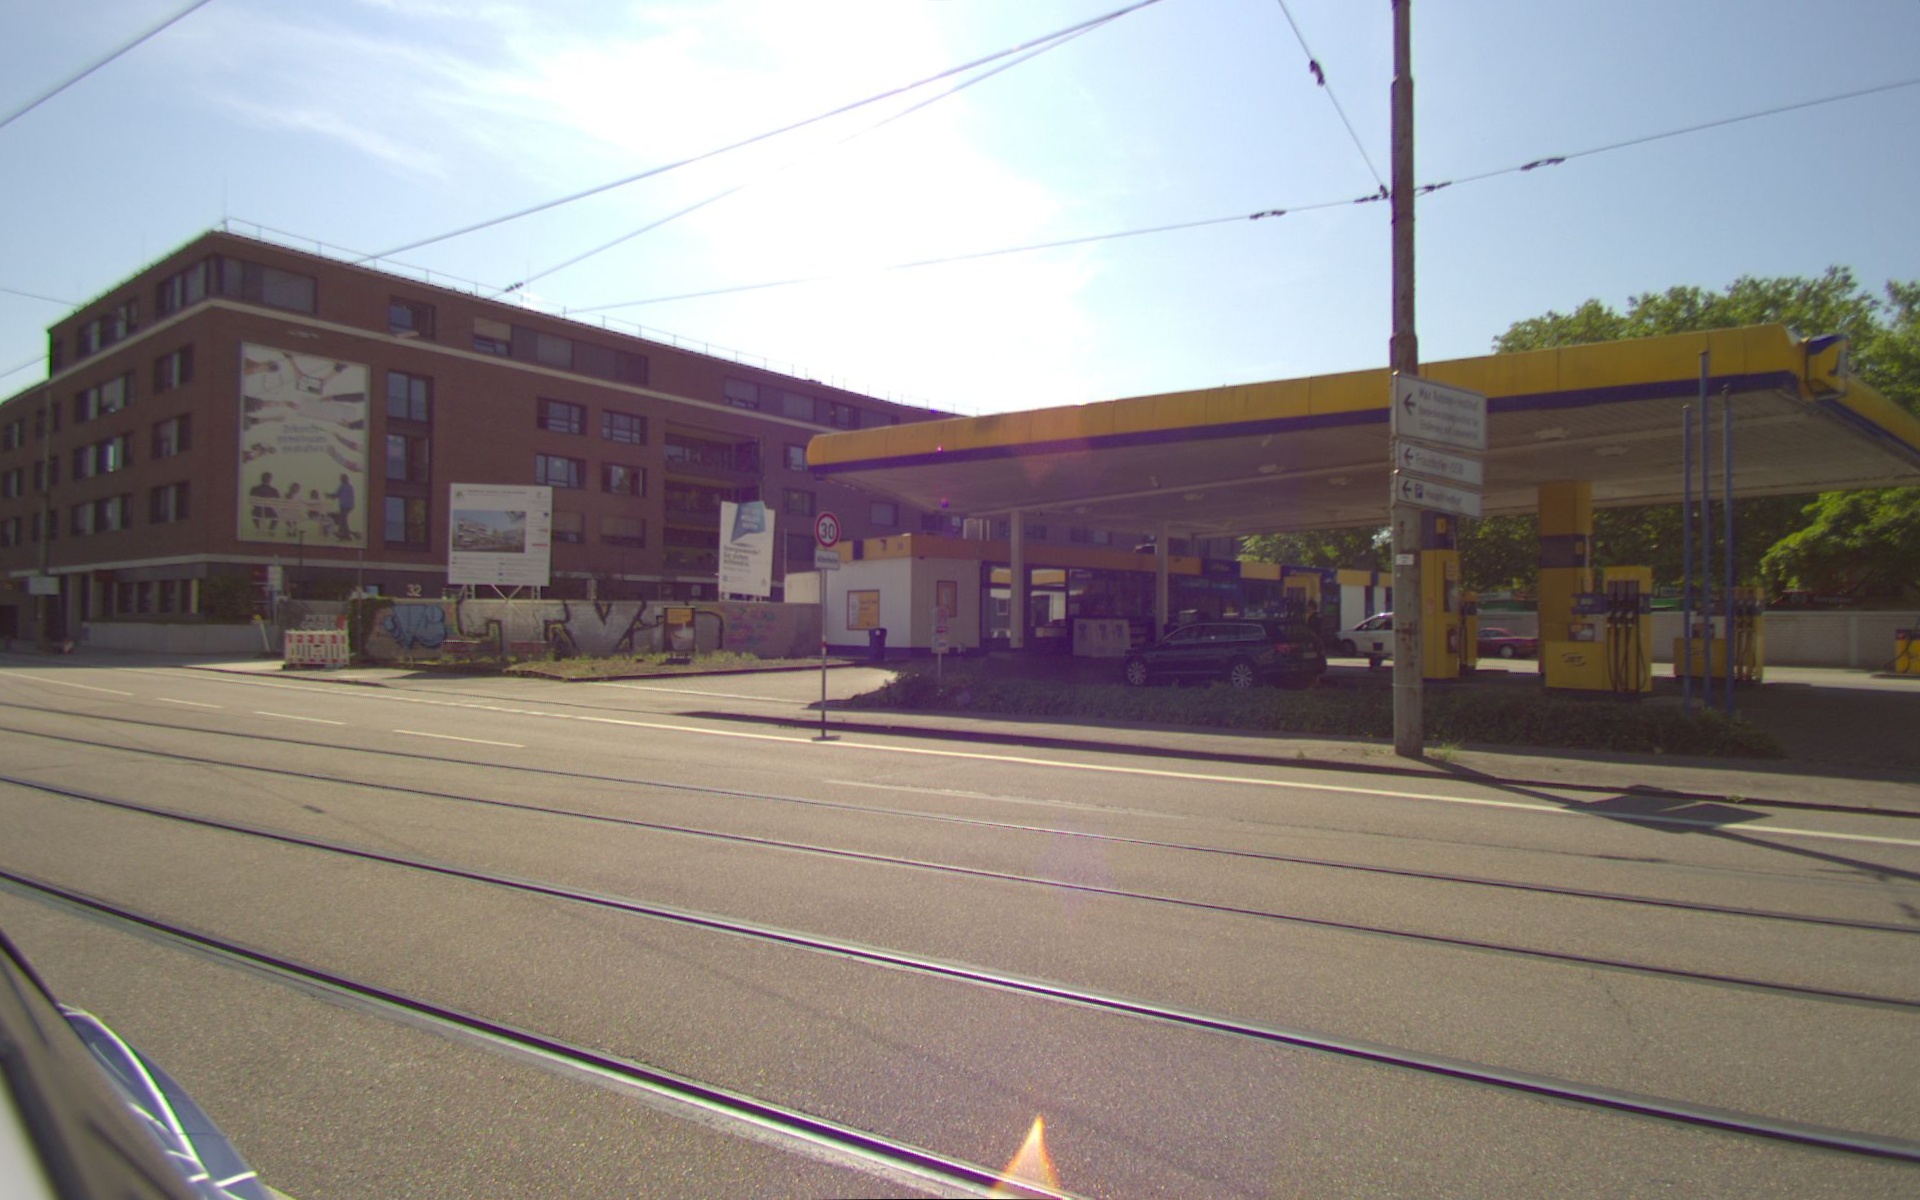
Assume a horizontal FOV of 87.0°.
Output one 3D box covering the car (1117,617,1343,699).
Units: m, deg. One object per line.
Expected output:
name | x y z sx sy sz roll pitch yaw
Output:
car | 5.593 1.185 21.452 1.733 1.466 4.417 -2 -1 -39

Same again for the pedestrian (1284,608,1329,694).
pedestrian | 7.212 1.037 21.034 0.742 1.738 0.850 -1 -2 30

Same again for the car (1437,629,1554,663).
car | 23.160 1.978 43.868 1.734 1.370 4.139 1 -2 -40

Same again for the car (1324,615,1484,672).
car | 16.673 1.600 38.298 1.734 1.997 5.313 2 -2 -42
